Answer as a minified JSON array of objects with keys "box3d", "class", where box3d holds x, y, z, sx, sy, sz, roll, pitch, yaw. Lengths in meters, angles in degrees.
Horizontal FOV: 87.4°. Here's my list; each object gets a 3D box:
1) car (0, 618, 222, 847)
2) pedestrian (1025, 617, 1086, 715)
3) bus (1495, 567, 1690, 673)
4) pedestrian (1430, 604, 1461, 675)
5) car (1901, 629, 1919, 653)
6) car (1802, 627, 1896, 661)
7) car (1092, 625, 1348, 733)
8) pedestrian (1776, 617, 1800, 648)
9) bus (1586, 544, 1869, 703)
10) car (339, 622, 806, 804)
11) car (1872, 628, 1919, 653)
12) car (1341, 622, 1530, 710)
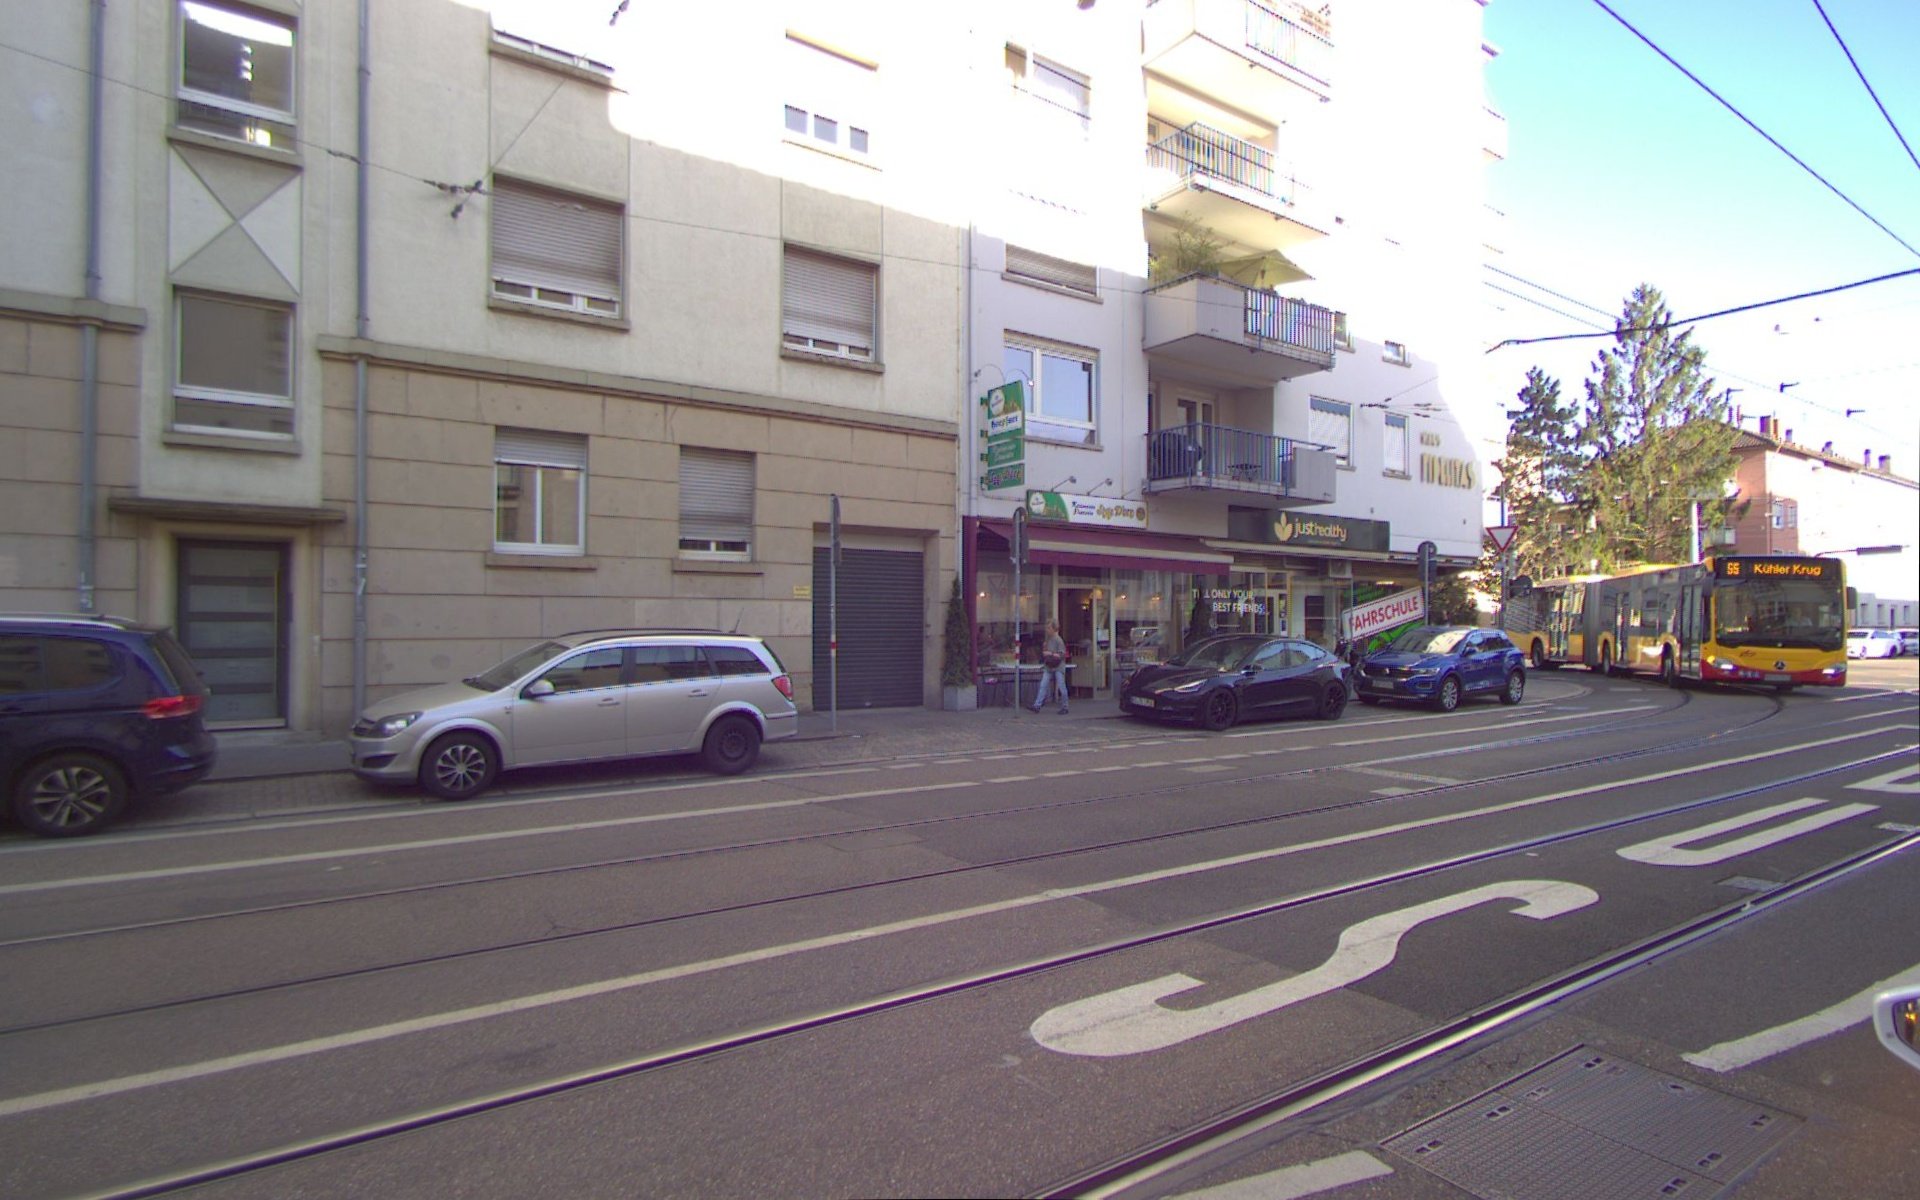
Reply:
[{"box3d":[-8.194,0.960,7.528,4.201,1.637,1.688,2,0,-35],"class":"car"},{"box3d":[1.565,1.065,16.537,0.713,1.569,0.694,0,-1,-31],"class":"pedestrian"},{"box3d":[21.124,0.713,34.180,2.691,3.203,7.583,0,-1,8],"class":"bus"},{"box3d":[14.261,1.157,29.520,0.482,2.040,0.681,1,-1,-37],"class":"pedestrian"},{"box3d":[63.051,2.647,65.378,3.961,1.517,1.898,1,-2,-36],"class":"car"},{"box3d":[43.528,2.120,49.178,4.339,1.595,1.845,1,-1,-24],"class":"car"},{"box3d":[4.353,1.219,16.557,4.268,1.529,1.688,2,0,-34],"class":"car"},{"box3d":[45.836,1.789,55.602,0.728,1.713,0.840,0,-1,-28],"class":"pedestrian"},{"box3d":[18.720,0.609,25.472,2.677,3.200,10.196,-1,-2,20],"class":"bus"},{"box3d":[-3.986,1.048,10.652,4.342,1.529,1.688,2,0,-35],"class":"car"},{"box3d":[57.590,2.455,61.439,3.961,1.517,1.898,1,-2,-36],"class":"car"},{"box3d":[9.447,1.253,19.855,3.963,1.529,1.732,2,0,-37],"class":"car"}]
